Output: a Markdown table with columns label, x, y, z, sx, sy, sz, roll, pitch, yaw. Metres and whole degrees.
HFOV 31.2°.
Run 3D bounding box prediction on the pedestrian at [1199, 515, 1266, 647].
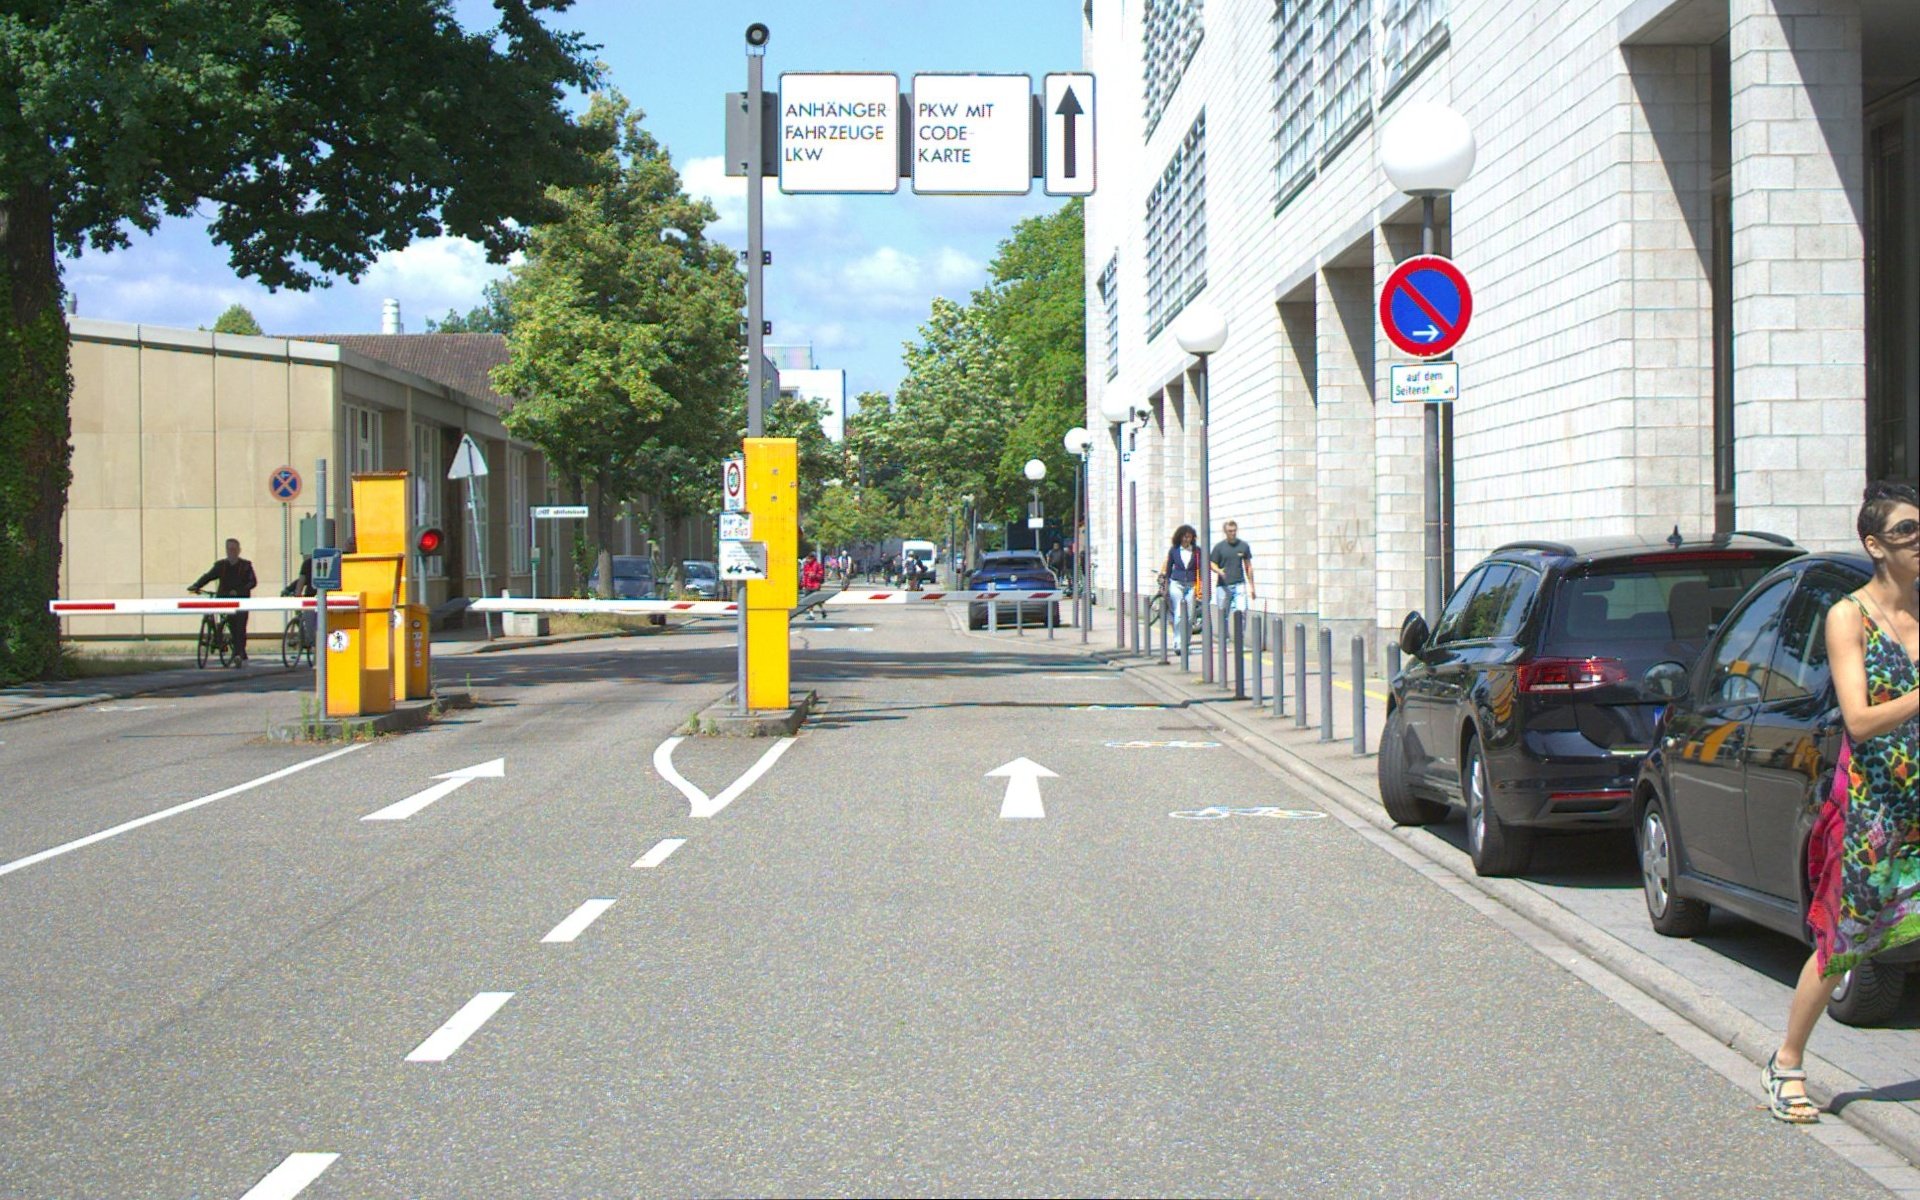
| label | x | y | z | sx | sy | sz | roll | pitch | yaw |
| --- | --- | --- | --- | --- | --- | --- | --- | --- | --- |
| pedestrian | 3.775 | -0.271 | 47.721 | 0.767 | 1.774 | 0.911 | -2 | 1 | -2 |

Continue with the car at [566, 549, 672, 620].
| label | x | y | z | sx | sy | sz | roll | pitch | yaw |
| --- | --- | --- | --- | --- | --- | --- | --- | --- | --- |
| car | -7.704 | -0.374 | 78.055 | 1.993 | 1.540 | 4.212 | -1 | 1 | 0 |

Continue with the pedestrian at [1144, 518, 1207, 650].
| label | x | y | z | sx | sy | sz | roll | pitch | yaw |
| --- | --- | --- | --- | --- | --- | --- | --- | --- | --- |
| pedestrian | 2.986 | -0.230 | 47.696 | 0.694 | 1.774 | 1.086 | -2 | 1 | -2 |

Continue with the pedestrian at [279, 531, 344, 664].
| label | x | y | z | sx | sy | sz | roll | pitch | yaw |
| --- | --- | --- | --- | --- | --- | --- | --- | --- | --- |
| pedestrian | -8.933 | -0.043 | 47.403 | 0.705 | 1.803 | 1.001 | -1 | 1 | -2 |

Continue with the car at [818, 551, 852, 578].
| label | x | y | z | sx | sy | sz | roll | pitch | yaw |
| --- | --- | --- | --- | --- | --- | --- | --- | --- | --- |
| car | -8.425 | -2.405 | 232.670 | 1.993 | 1.714 | 3.999 | -1 | -1 | 2 |

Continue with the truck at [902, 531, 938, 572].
| label | x | y | z | sx | sy | sz | roll | pitch | yaw |
| --- | --- | --- | --- | --- | --- | --- | --- | --- | --- |
| truck | -2.426 | -2.901 | 206.044 | 1.993 | 2.263 | 4.616 | -1 | -1 | -2 |

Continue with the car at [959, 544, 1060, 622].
| label | x | y | z | sx | sy | sz | roll | pitch | yaw |
| --- | --- | --- | --- | --- | --- | --- | --- | --- | --- |
| car | 0.988 | -0.373 | 70.850 | 1.993 | 1.540 | 4.212 | -1 | 1 | 0 |

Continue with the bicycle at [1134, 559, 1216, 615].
| label | x | y | z | sx | sy | sz | roll | pitch | yaw |
| --- | --- | --- | --- | --- | --- | --- | --- | --- | --- |
| bicycle | 4.246 | -0.266 | 67.785 | 1.544 | 1.063 | 0.647 | -1 | 1 | 7 |

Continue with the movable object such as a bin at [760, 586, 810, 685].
| label | x | y | z | sx | sy | sz | roll | pitch | yaw |
| --- | --- | --- | --- | --- | --- | --- | --- | --- | --- |
| movable object such as a bin | -1.619 | 0.328 | 31.844 | 0.416 | 0.902 | 0.353 | 0 | 1 | 4 |

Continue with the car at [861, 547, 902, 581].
| label | x | y | z | sx | sy | sz | roll | pitch | yaw |
| --- | --- | --- | --- | --- | --- | --- | --- | --- | --- |
| car | -4.225 | -1.940 | 185.302 | 1.993 | 1.714 | 3.999 | -1 | -1 | 2 |

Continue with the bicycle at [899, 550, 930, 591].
| label | x | y | z | sx | sy | sz | roll | pitch | yaw |
| --- | --- | --- | --- | --- | --- | --- | --- | --- | --- |
| bicycle | -1.538 | -0.981 | 115.815 | 0.987 | 1.311 | 2.964 | -1 | -1 | -1 |

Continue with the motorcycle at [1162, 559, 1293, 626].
| label | x | y | z | sx | sy | sz | roll | pitch | yaw |
| --- | --- | --- | --- | --- | --- | --- | --- | --- | --- |
| motorcycle | 4.516 | -0.122 | 58.136 | 2.123 | 1.019 | 0.660 | -3 | -1 | 1 |

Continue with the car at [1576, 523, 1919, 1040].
| label | x | y | z | sx | sy | sz | roll | pitch | yaw |
| --- | --- | --- | --- | --- | --- | --- | --- | --- | --- |
| car | 3.373 | 0.488 | 11.938 | 1.614 | 1.491 | 4.007 | -1 | 1 | -2 |

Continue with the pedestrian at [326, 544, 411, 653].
| label | x | y | z | sx | sy | sz | roll | pitch | yaw |
| --- | --- | --- | --- | --- | --- | --- | --- | --- | --- |
| pedestrian | -8.919 | -0.022 | 51.831 | 0.886 | 1.627 | 0.895 | 0 | 0 | 31 |

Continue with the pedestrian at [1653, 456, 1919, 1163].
| label | x | y | z | sx | sy | sz | roll | pitch | yaw |
| --- | --- | --- | --- | --- | --- | --- | --- | --- | --- |
| pedestrian | 2.378 | 0.499 | 8.775 | 0.623 | 1.711 | 1.040 | -2 | 1 | -33 |

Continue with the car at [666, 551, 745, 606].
| label | x | y | z | sx | sy | sz | roll | pitch | yaw |
| --- | --- | --- | --- | --- | --- | --- | --- | --- | --- |
| car | -7.377 | -0.647 | 100.007 | 1.993 | 1.540 | 4.212 | -1 | 1 | 0 |

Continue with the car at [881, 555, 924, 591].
| label | x | y | z | sx | sy | sz | roll | pitch | yaw |
| --- | --- | --- | --- | --- | --- | --- | --- | --- | --- |
| car | -2.935 | -1.388 | 175.623 | 1.993 | 1.714 | 3.999 | -1 | -1 | 2 |

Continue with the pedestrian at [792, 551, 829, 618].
| label | x | y | z | sx | sy | sz | roll | pitch | yaw |
| --- | --- | --- | --- | --- | --- | --- | --- | --- | --- |
| pedestrian | -3.629 | -0.377 | 83.439 | 0.894 | 1.627 | 0.888 | 0 | 0 | -3 |

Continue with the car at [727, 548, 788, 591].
| label | x | y | z | sx | sy | sz | roll | pitch | yaw |
| --- | --- | --- | --- | --- | --- | --- | --- | --- | --- |
| car | -7.514 | -1.153 | 127.809 | 1.993 | 1.540 | 4.212 | -1 | 1 | 0 |

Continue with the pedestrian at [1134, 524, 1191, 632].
| label | x | y | z | sx | sy | sz | roll | pitch | yaw |
| --- | --- | --- | --- | --- | --- | --- | --- | --- | --- |
| pedestrian | 3.132 | -0.354 | 53.187 | 0.741 | 1.627 | 0.888 | -2 | 1 | -2 |

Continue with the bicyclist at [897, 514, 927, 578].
| label | x | y | z | sx | sy | sz | roll | pitch | yaw |
| --- | --- | --- | --- | --- | --- | --- | --- | --- | --- |
| bicyclist | -1.613 | -1.826 | 115.944 | 0.987 | 2.125 | 1.036 | -1 | -1 | -1 |

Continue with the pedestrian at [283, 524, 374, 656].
| label | x | y | z | sx | sy | sz | roll | pitch | yaw |
| --- | --- | --- | --- | --- | --- | --- | --- | --- | --- |
| pedestrian | -9.350 | -0.146 | 50.889 | 0.886 | 1.919 | 1.004 | 0 | 0 | 31 |

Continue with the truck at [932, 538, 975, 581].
| label | x | y | z | sx | sy | sz | roll | pitch | yaw |
| --- | --- | --- | --- | --- | --- | --- | --- | --- | --- |
| truck | -0.343 | -2.061 | 175.718 | 1.993 | 2.007 | 4.000 | -1 | -1 | -2 |

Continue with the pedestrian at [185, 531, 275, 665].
| label | x | y | z | sx | sy | sz | roll | pitch | yaw |
| --- | --- | --- | --- | --- | --- | --- | --- | --- | --- |
| pedestrian | -10.084 | -0.036 | 47.490 | 1.056 | 1.809 | 0.806 | -1 | 1 | -2 |

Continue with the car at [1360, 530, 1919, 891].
| label | x | y | z | sx | sy | sz | roll | pitch | yaw |
| --- | --- | --- | --- | --- | --- | --- | --- | --- | --- |
| car | 3.135 | 0.416 | 16.338 | 1.866 | 1.459 | 4.520 | -1 | 1 | -1 |
